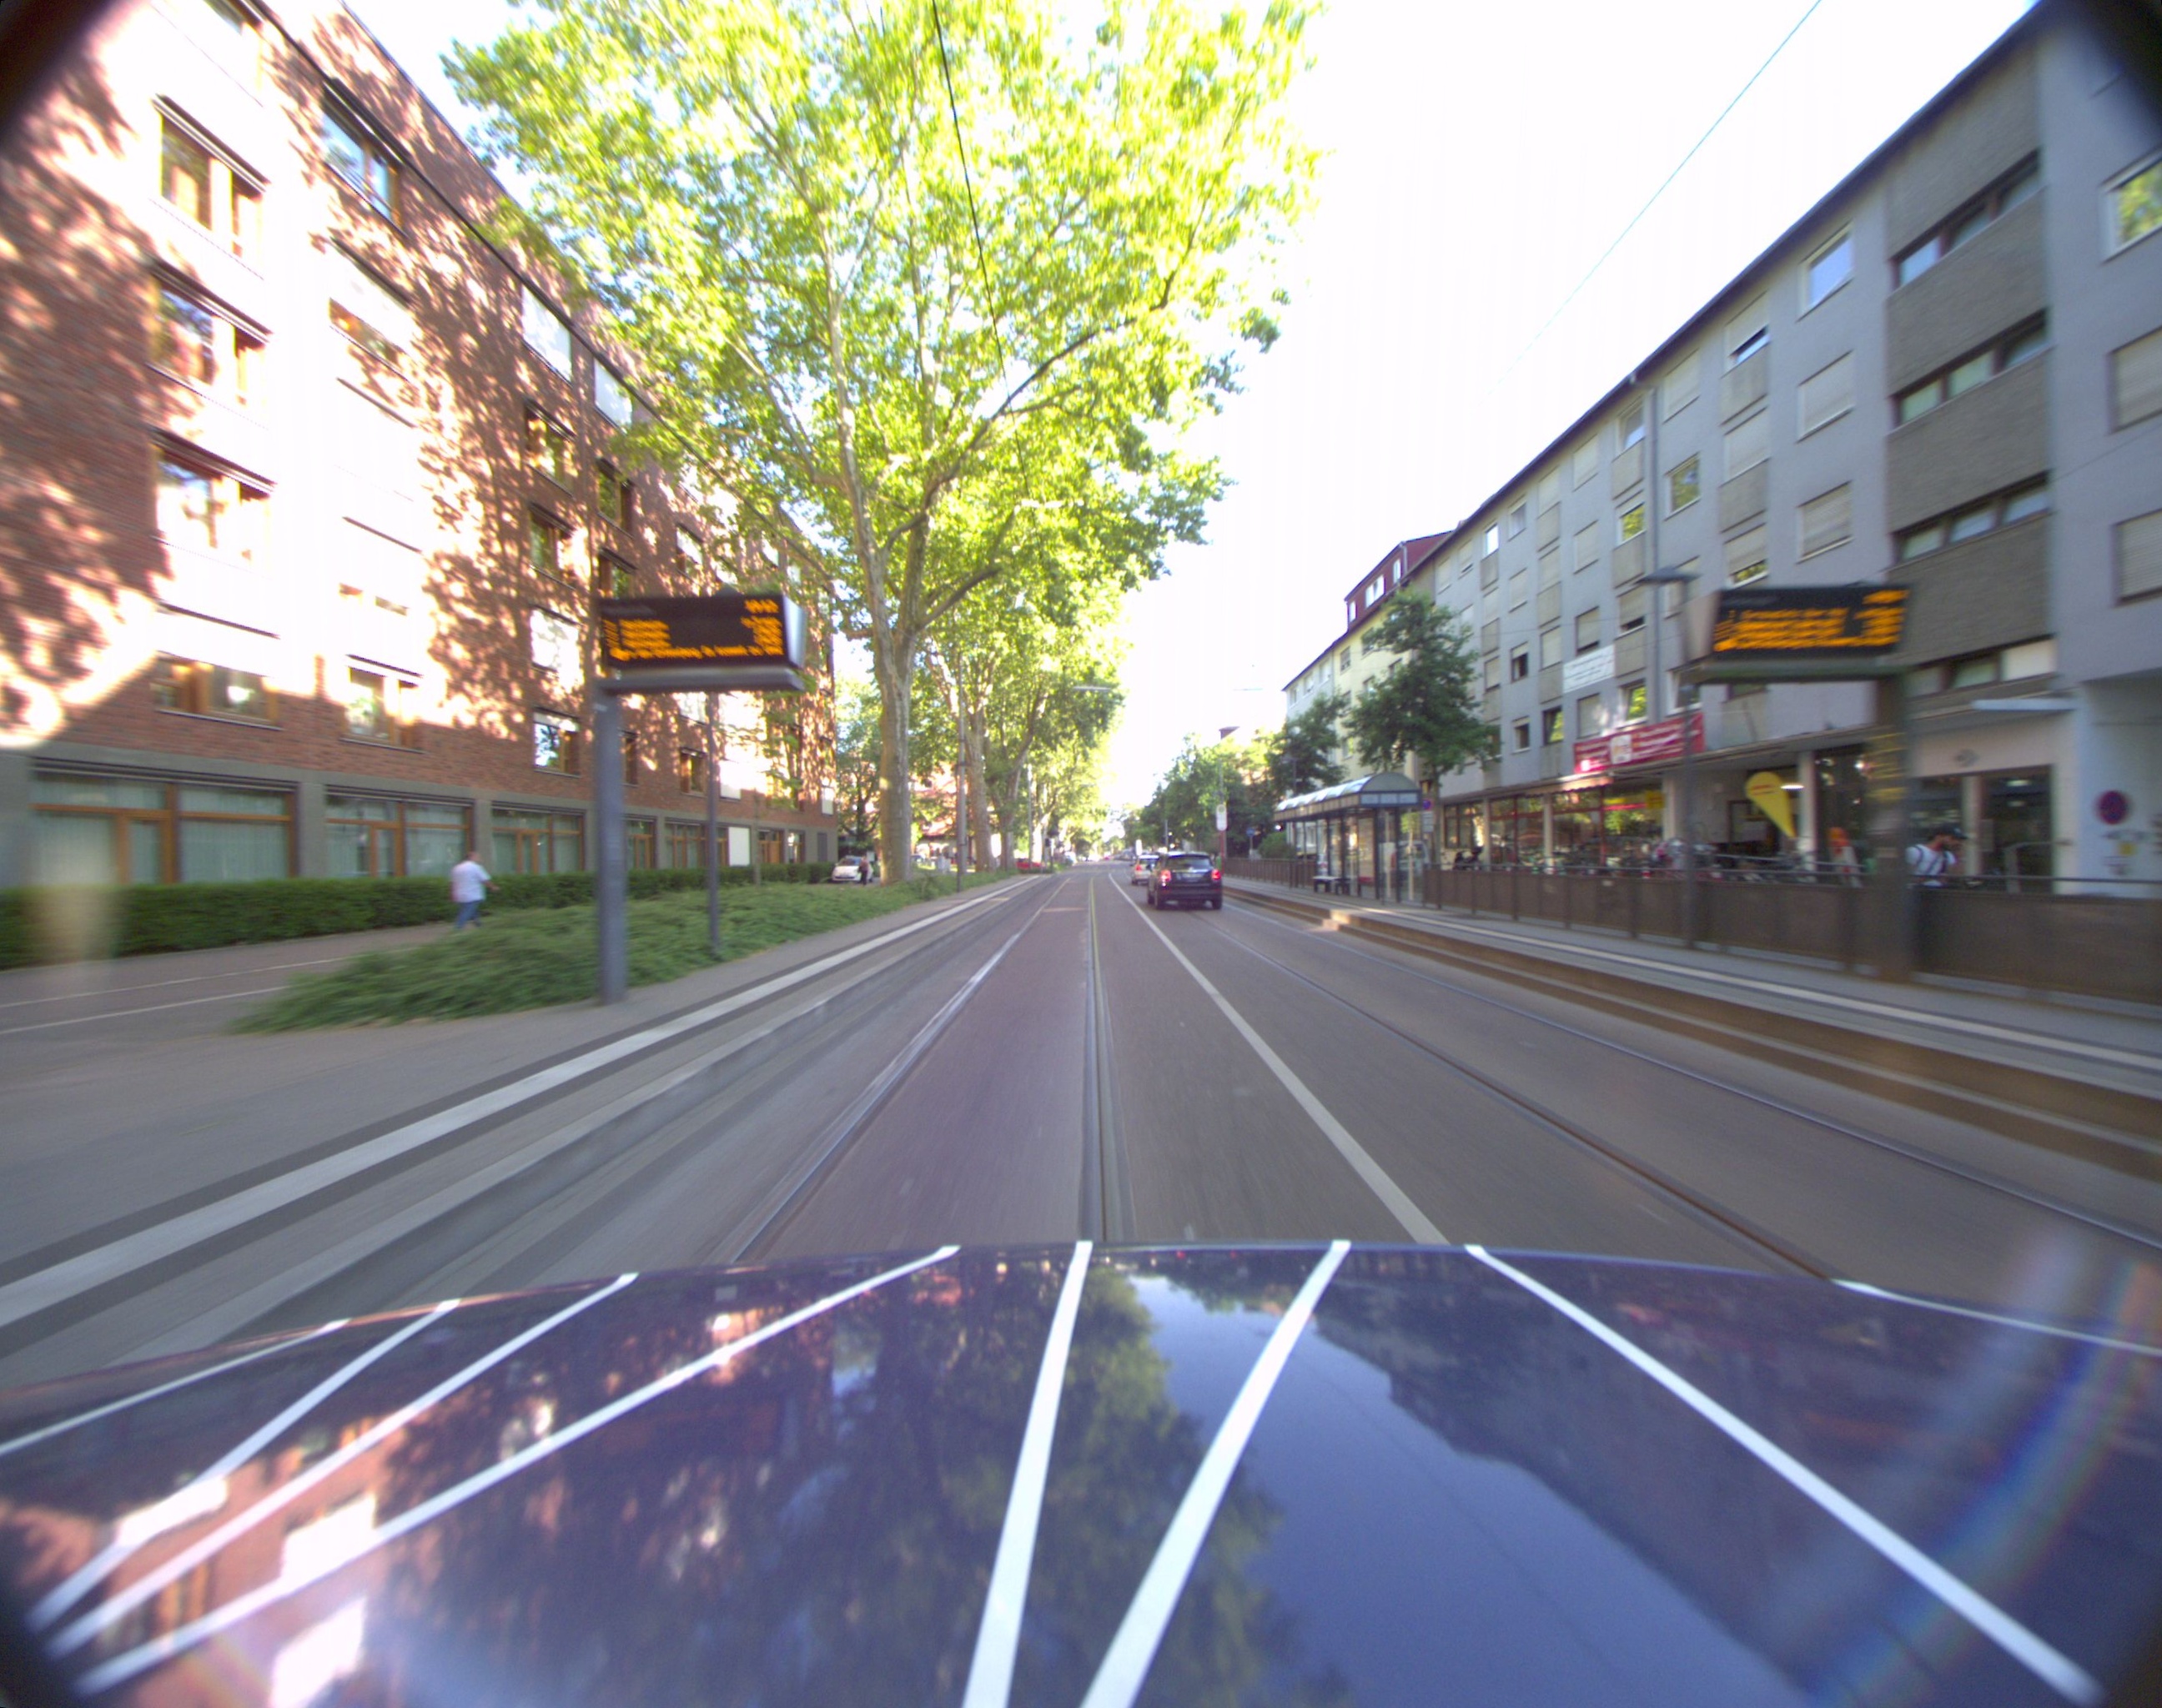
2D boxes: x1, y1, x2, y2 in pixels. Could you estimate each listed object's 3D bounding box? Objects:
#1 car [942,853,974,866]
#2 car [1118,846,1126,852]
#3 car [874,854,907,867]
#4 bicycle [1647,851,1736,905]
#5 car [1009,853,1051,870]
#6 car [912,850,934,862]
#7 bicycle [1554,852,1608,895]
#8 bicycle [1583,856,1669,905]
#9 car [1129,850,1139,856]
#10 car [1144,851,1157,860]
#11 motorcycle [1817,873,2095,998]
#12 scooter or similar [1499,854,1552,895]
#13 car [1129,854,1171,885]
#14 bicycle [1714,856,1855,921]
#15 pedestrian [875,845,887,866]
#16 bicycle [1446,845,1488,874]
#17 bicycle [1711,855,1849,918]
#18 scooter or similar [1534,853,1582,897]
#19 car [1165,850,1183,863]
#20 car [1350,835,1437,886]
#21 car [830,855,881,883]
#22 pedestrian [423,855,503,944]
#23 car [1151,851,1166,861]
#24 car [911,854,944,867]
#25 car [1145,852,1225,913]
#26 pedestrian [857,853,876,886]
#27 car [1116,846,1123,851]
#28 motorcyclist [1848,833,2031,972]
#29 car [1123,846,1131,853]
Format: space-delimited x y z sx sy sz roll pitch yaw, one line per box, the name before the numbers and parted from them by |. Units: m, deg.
car | -15.662 0.667 96.991 3.674 1.521 2.000 -1 0 2
car | 12.024 -1.465 223.122 1.998 1.741 3.677 -1 0 0
car | -24.376 0.836 97.117 3.674 1.521 2.000 -1 0 2
bicycle | 13.794 0.514 17.217 0.494 1.150 1.751 -1 0 -5
car | -4.869 0.698 72.837 3.872 1.521 2.000 -1 0 2
car | -21.819 0.250 105.200 1.998 1.521 3.678 -1 0 3
bicycle | 14.211 0.532 21.642 0.513 1.150 1.688 -1 0 4
bicycle | 13.676 0.636 19.149 0.572 1.150 2.036 -1 0 -5
car | 12.723 -0.274 181.830 1.998 1.521 3.677 -1 0 0
car | 11.864 0.188 130.287 1.998 1.521 3.678 -1 0 3
motorcycle | 9.428 0.816 8.337 0.851 1.157 1.915 -1 0 0
scooter or similar | 13.098 0.592 22.417 0.447 1.167 1.272 -1 1 -36
car | 3.422 0.742 38.321 1.766 1.417 4.000 -1 0 1
bicycle | 13.525 0.623 14.697 0.561 1.150 2.028 -1 0 -15
pedestrian | -17.139 0.123 65.073 0.689 1.704 0.703 -1 1 8
bicycle | 16.259 0.222 32.063 0.572 1.150 2.036 -1 0 -5
bicycle | 13.774 0.608 15.064 0.561 1.150 2.028 -1 0 -15
scooter or similar | 13.222 0.562 21.097 0.446 1.167 1.274 -1 0 -5
car | 11.610 0.315 95.456 1.998 1.521 3.678 -1 0 3
car | 12.517 0.245 30.724 1.808 1.923 4.049 -1 0 -1
car | -12.782 0.799 43.329 1.657 1.499 3.961 -1 0 1
pedestrian | -11.944 0.852 14.718 0.768 1.650 0.917 -1 1 1
car | 11.804 0.316 115.961 1.998 1.521 3.678 -1 0 3
car | -19.566 0.808 97.067 3.674 1.521 2.000 -1 0 2
car | 2.883 0.732 21.806 1.766 1.579 4.000 -1 0 1
pedestrian | -10.901 0.787 38.654 0.710 1.681 0.748 -1 1 -1
car | 13.175 -1.790 259.467 1.998 1.741 3.677 -1 0 0
motorcyclist | 9.411 0.502 8.385 0.875 1.432 1.016 -1 1 0
car | 12.311 -1.249 204.752 1.998 1.741 3.677 -1 0 0
